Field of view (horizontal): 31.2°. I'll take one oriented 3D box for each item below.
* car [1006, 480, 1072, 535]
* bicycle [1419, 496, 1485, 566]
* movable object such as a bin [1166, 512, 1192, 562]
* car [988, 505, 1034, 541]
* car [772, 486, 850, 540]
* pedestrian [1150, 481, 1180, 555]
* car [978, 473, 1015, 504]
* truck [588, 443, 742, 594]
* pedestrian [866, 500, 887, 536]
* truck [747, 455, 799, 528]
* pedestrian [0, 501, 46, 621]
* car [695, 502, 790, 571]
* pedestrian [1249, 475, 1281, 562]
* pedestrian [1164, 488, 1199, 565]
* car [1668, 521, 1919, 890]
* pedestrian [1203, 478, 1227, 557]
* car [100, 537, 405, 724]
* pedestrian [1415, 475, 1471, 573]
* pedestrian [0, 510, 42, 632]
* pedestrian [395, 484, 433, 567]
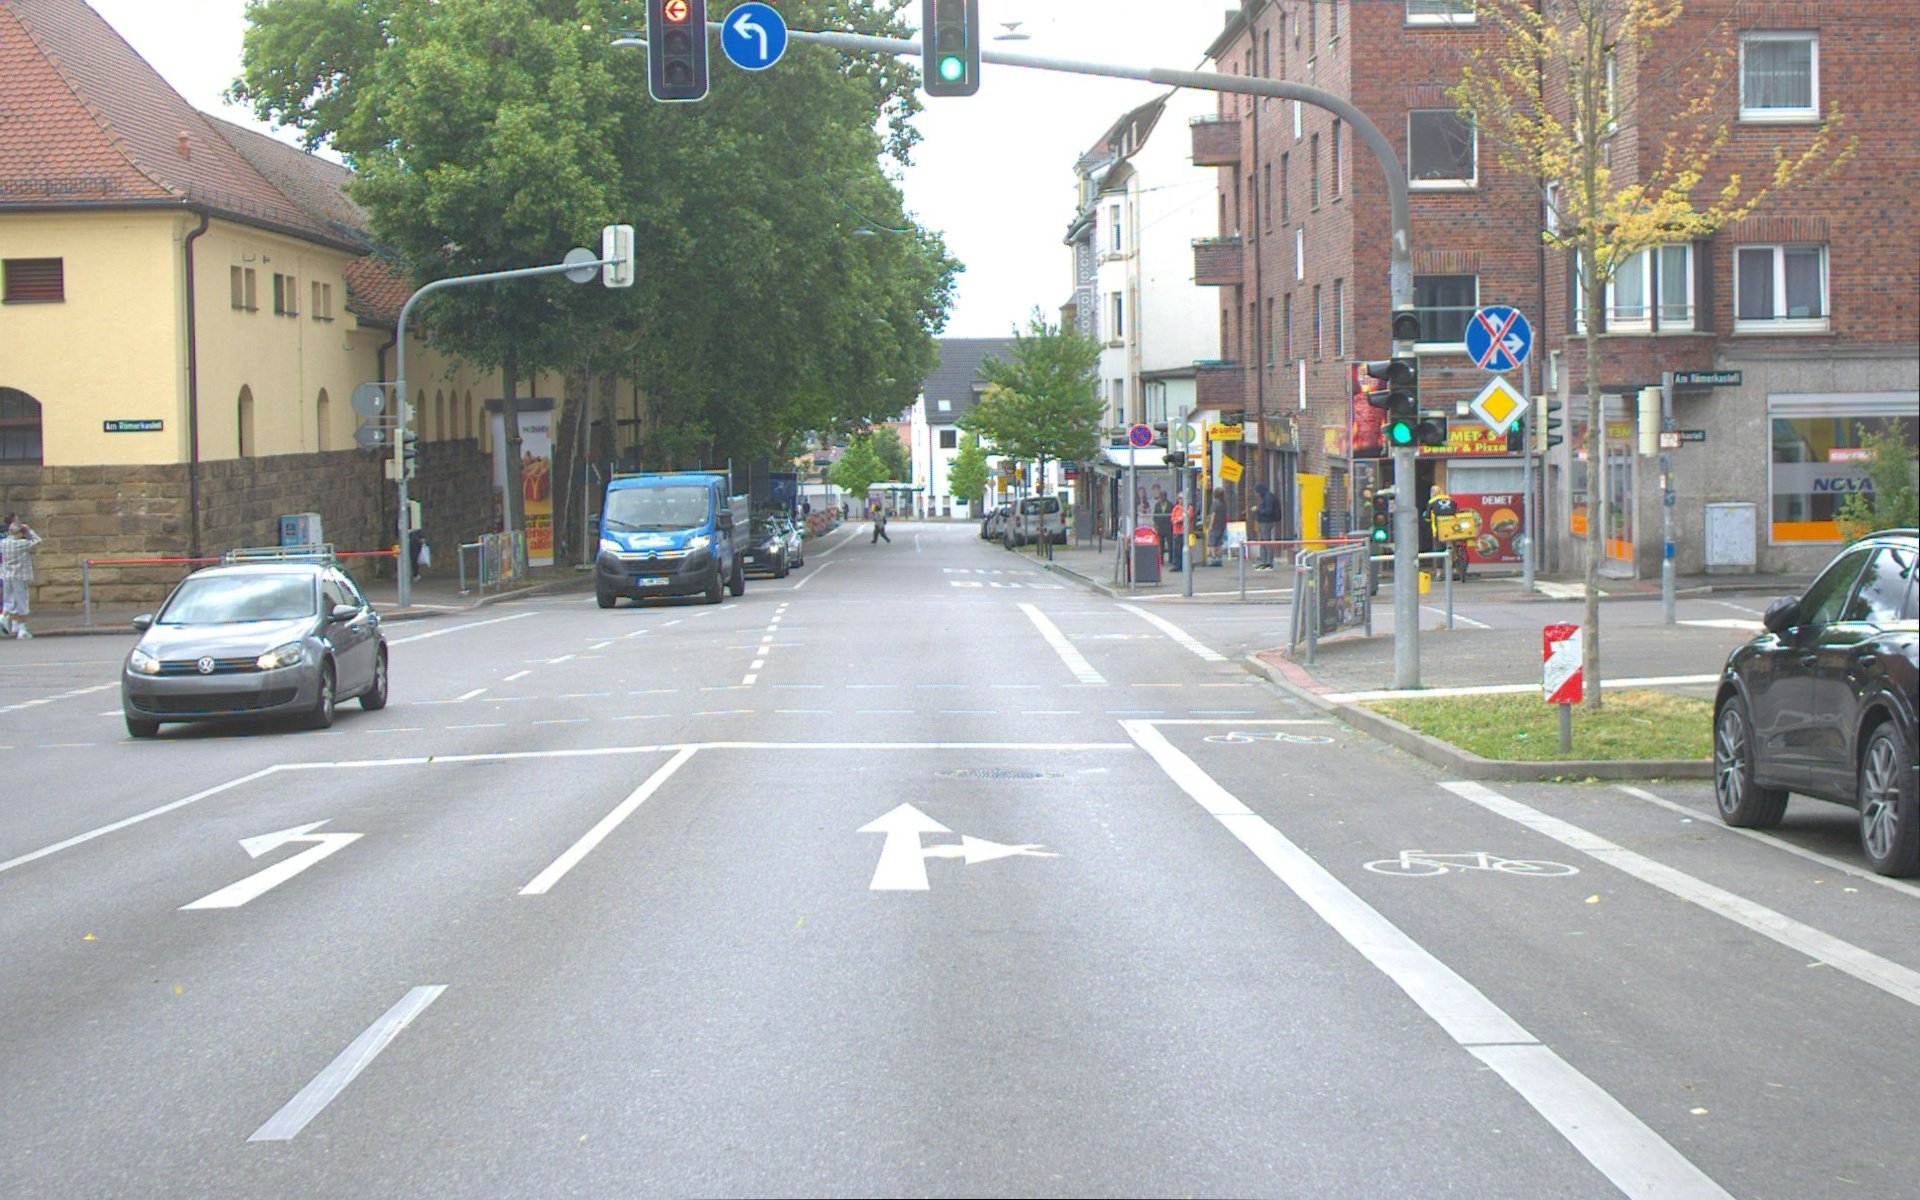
[{"bbox_3d":[2.872,-3.385,125.457,1.993,1.929,4.920,-1,2,-3],"label":"car"},{"bbox_3d":[8.528,-1.210,59.644,0.760,1.189,2.392,0,2,-1],"label":"bicycle"},{"bbox_3d":[4.636,-1.342,72.772,0.453,1.053,0.410,0,1,19],"label":"movable object such as a bin"},{"bbox_3d":[2.195,-3.349,148.831,1.668,1.542,3.757,-1,2,-3],"label":"car"},{"bbox_3d":[-3.799,-2.221,88.121,1.685,1.271,4.095,-3,1,1],"label":"car"},{"bbox_3d":[4.792,-1.929,80.486,0.670,1.721,0.763,0,2,5],"label":"pedestrian"},{"bbox_3d":[1.886,-5.791,178.686,1.668,1.542,3.757,-1,2,-3],"label":"car"},{"bbox_3d":[-5.062,-1.434,59.819,2.295,2.419,6.412,-2,2,-2],"label":"truck"},{"bbox_3d":[-3.518,-3.440,144.172,0.672,1.531,0.611,-1,2,-26],"label":"pedestrian"},{"bbox_3d":[-8.762,-5.080,161.451,2.231,3.335,7.451,0,2,-2],"label":"truck"},{"bbox_3d":[-13.992,-0.590,51.141,0.564,1.771,0.842,0,2,-1],"label":"pedestrian"},{"bbox_3d":[-4.767,-1.414,75.842,1.703,1.409,4.192,-2,2,1],"label":"car"},{"bbox_3d":[6.230,-1.668,70.253,0.647,1.744,0.778,0,2,5],"label":"pedestrian"},{"bbox_3d":[4.709,-1.561,72.940,0.565,1.631,0.680,0,2,20],"label":"pedestrian"},{"bbox_3d":[4.907,0.425,16.899,1.734,1.583,4.573,1,1,-2],"label":"car"},{"bbox_3d":[5.712,-1.843,76.977,0.479,1.759,0.458,-1,1,-1],"label":"pedestrian"},{"bbox_3d":[-6.339,0.222,31.276,1.756,1.467,4.307,-2,2,1],"label":"car"},{"bbox_3d":[8.405,-1.323,59.834,0.788,1.650,0.772,-3,2,0],"label":"pedestrian"},{"bbox_3d":[-13.807,-0.430,50.286,0.564,1.771,0.717,0,2,-1],"label":"pedestrian"},{"bbox_3d":[-11.628,-1.590,73.239,0.674,1.759,0.725,-1,1,-1],"label":"pedestrian"}]
